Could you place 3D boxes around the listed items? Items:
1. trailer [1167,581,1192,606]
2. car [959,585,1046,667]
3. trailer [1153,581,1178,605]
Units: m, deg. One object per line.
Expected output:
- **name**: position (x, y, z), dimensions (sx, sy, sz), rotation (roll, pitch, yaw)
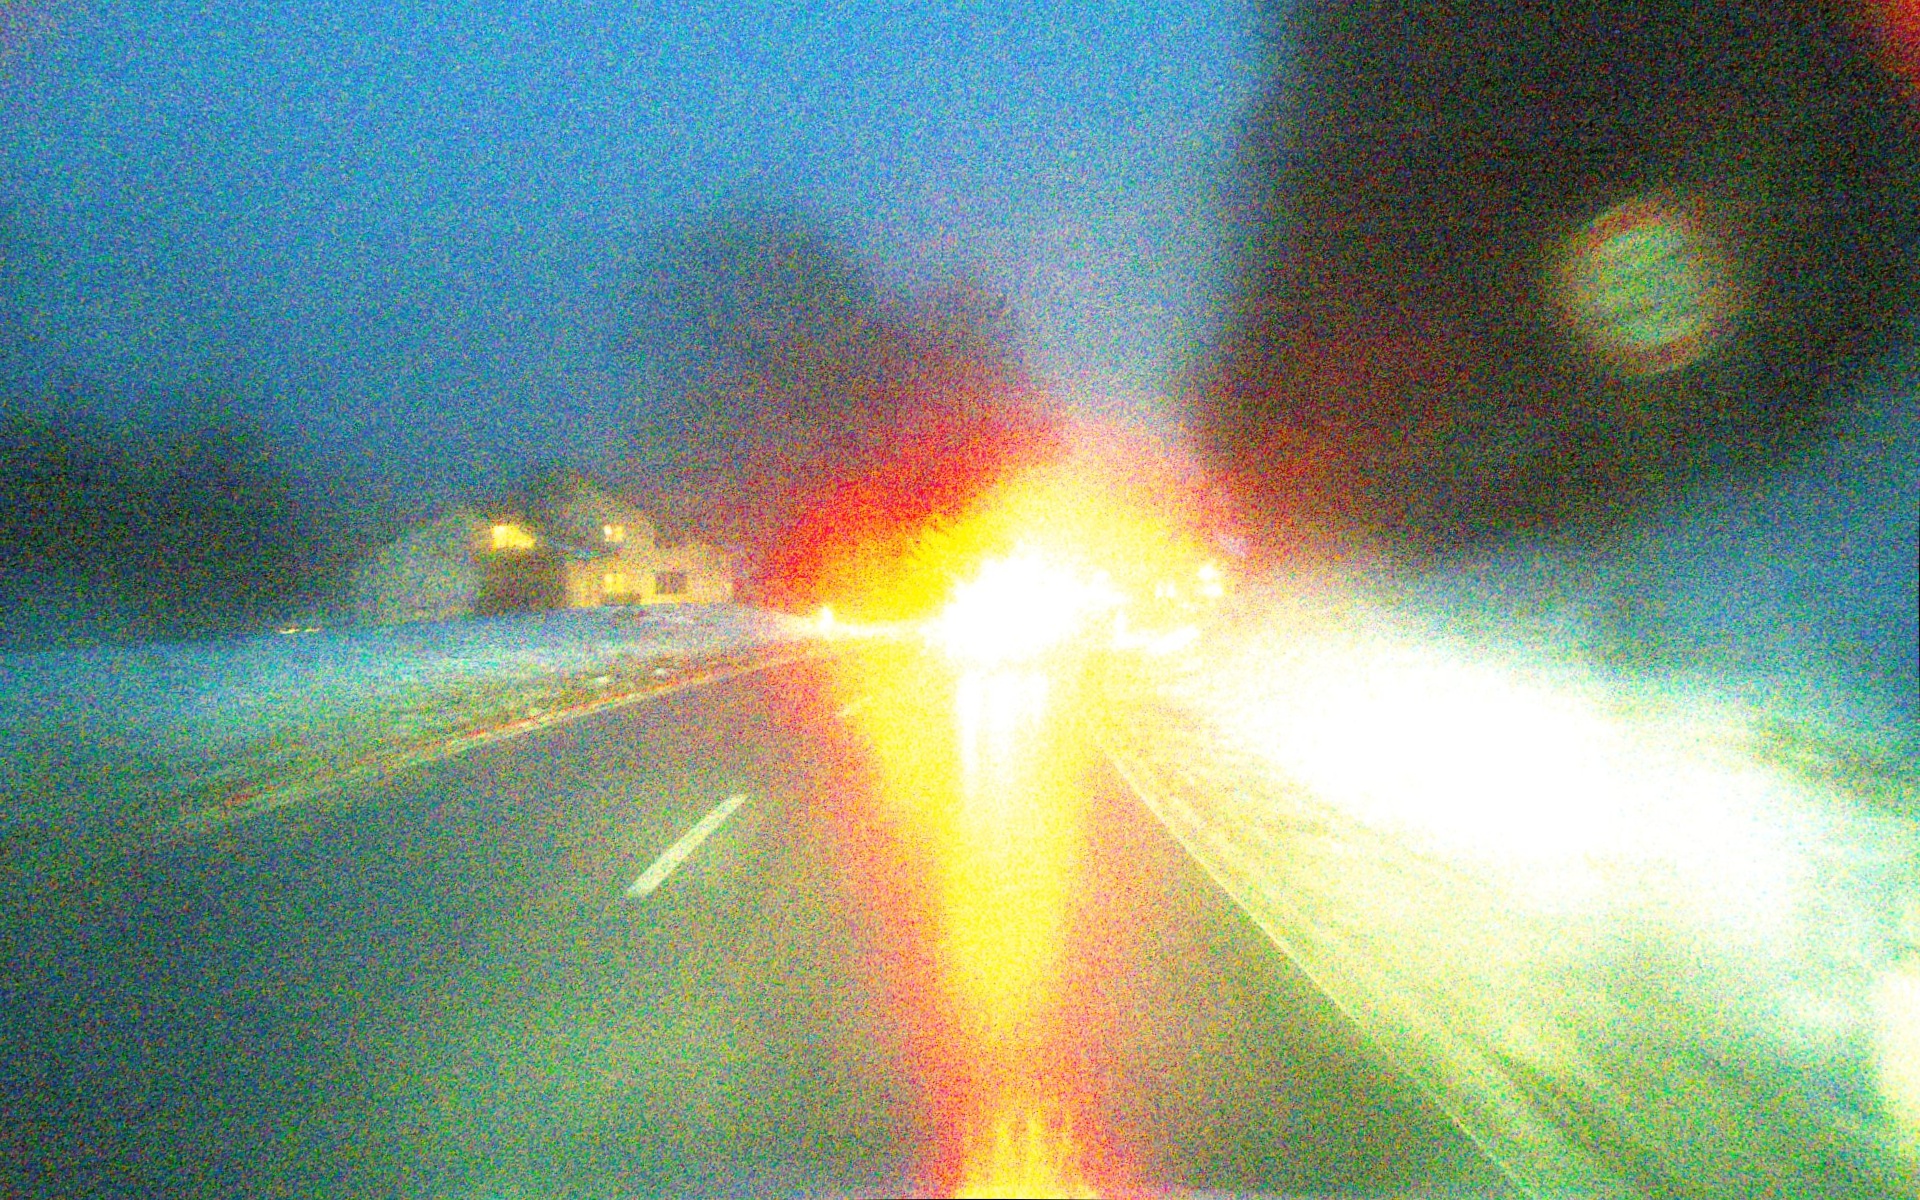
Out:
- **trailer**: position (21.833, -0.670, 164.659), dimensions (1.574, 2.393, 4.426), rotation (1, 0, -5)
- **car**: position (0.965, 0.527, 35.934), dimensions (1.764, 1.657, 3.616), rotation (-1, 0, 3)
- **trailer**: position (21.036, -0.679, 169.680), dimensions (1.598, 2.406, 4.648), rotation (1, 0, -5)
